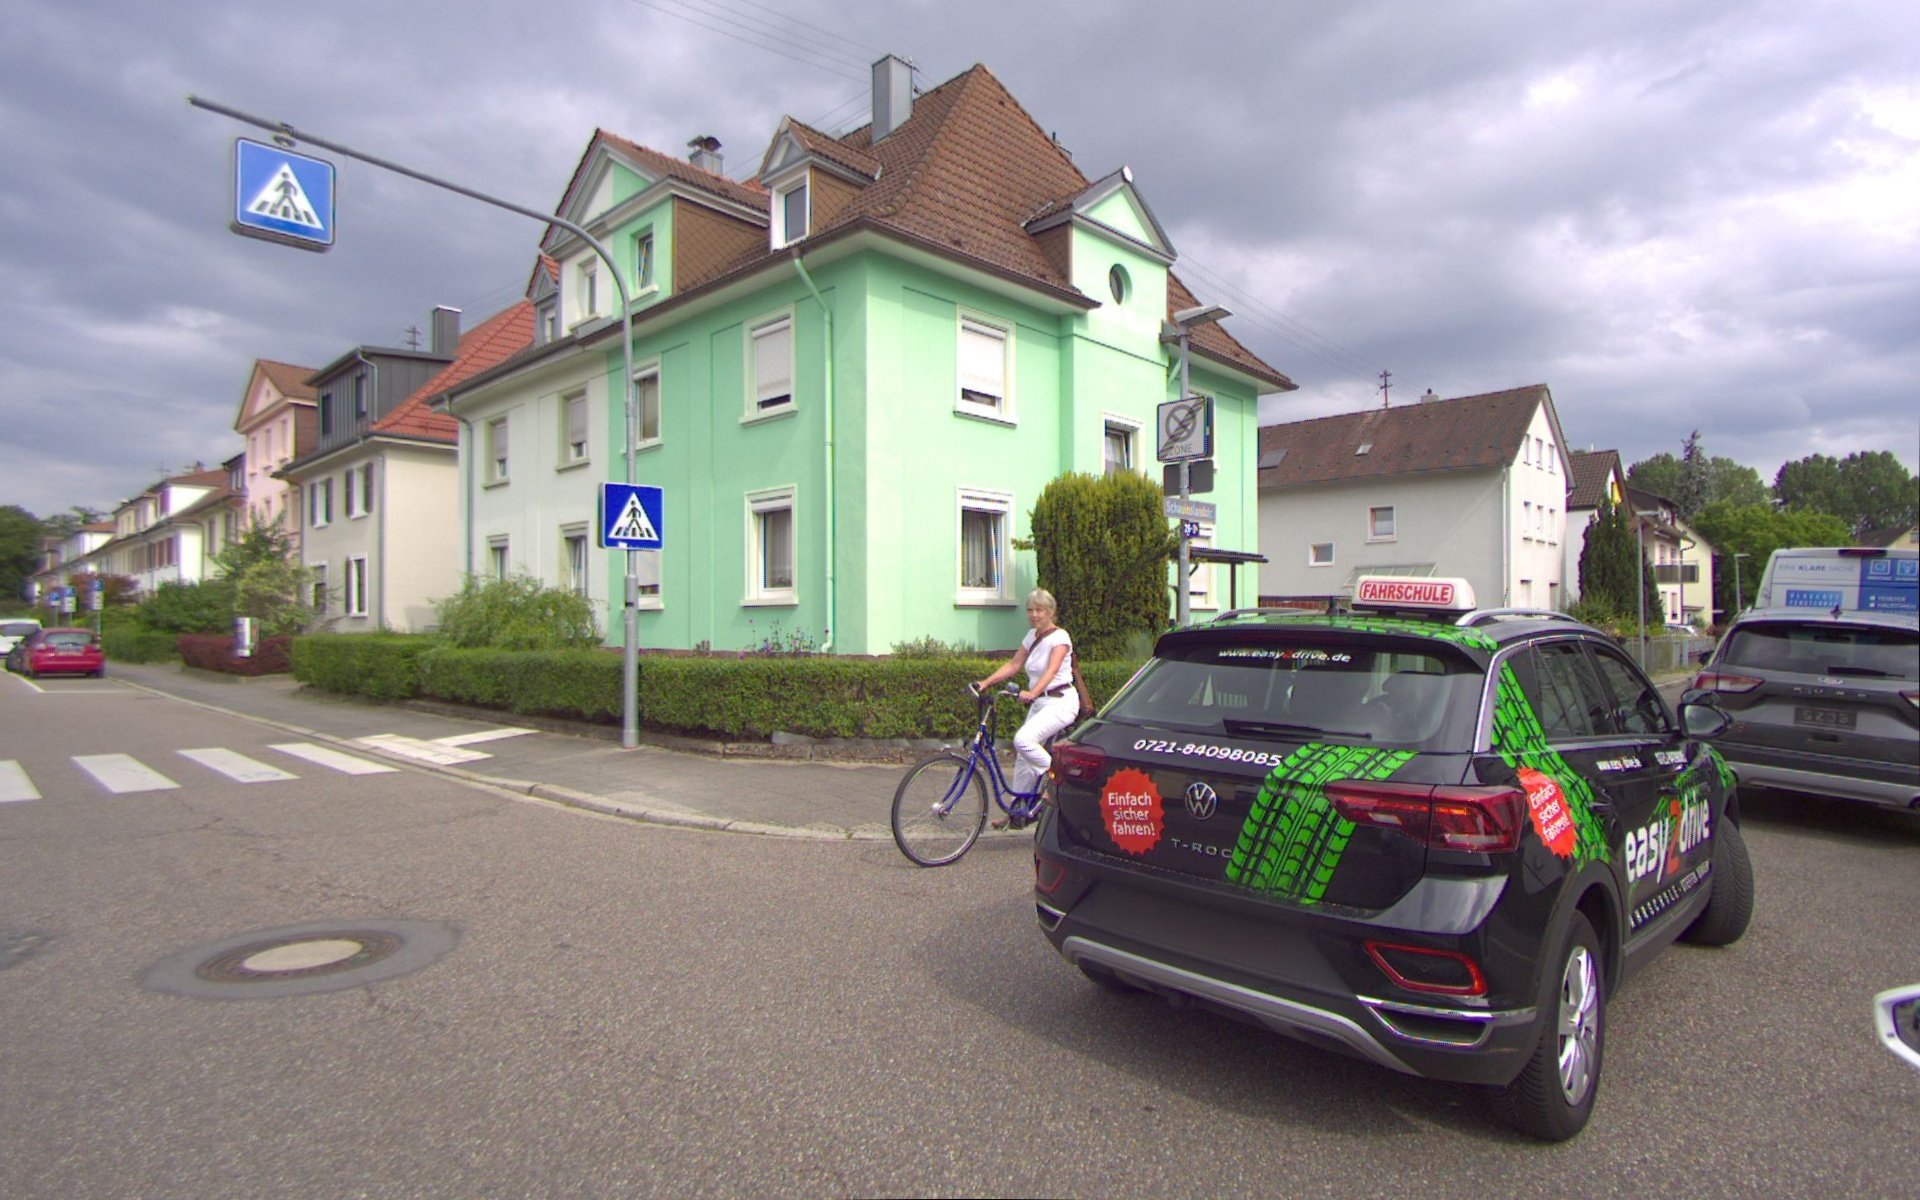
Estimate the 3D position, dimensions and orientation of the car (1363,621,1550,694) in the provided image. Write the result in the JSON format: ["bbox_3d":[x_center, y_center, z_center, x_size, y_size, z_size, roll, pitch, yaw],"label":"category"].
[{"bbox_3d":[11.135,1.241,22.634,3.529,1.520,1.580,-1,-2,40],"label":"car"}]

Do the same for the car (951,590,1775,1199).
[{"bbox_3d":[2.036,0.814,4.302,4.016,1.540,1.798,2,-2,-44],"label":"car"}]

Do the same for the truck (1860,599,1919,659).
[{"bbox_3d":[44.039,1.345,47.526,2.106,2.692,4.560,-1,-1,41],"label":"truck"}]

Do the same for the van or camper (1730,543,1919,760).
[{"bbox_3d":[12.252,0.636,13.811,2.168,2.491,5.025,-1,-1,43],"label":"van or camper"}]

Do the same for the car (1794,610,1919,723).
[{"bbox_3d":[16.314,1.099,18.043,1.971,1.795,4.320,-1,-1,41],"label":"car"}]

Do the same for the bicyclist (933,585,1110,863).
[{"bbox_3d":[0.413,0.758,6.682,0.968,1.688,0.690,0,0,-41],"label":"bicyclist"}]

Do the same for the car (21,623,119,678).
[{"bbox_3d":[-27.857,1.537,31.398,3.945,1.595,1.988,-1,-2,44],"label":"car"}]

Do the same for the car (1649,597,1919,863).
[{"bbox_3d":[7.366,0.895,8.579,1.971,1.749,4.320,-1,-1,41],"label":"car"}]

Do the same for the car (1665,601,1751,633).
[{"bbox_3d":[44.189,1.024,59.389,3.941,1.795,1.861,-1,-3,41],"label":"car"}]

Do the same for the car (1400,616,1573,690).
[{"bbox_3d":[13.006,1.272,24.903,3.529,1.689,1.580,-1,-2,40],"label":"car"}]

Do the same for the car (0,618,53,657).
[{"bbox_3d":[-47.587,1.879,50.992,3.945,1.929,1.988,-1,-2,44],"label":"car"}]

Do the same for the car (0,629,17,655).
[{"bbox_3d":[-58.705,2.537,60.933,3.945,1.595,1.988,-1,-2,44],"label":"car"}]

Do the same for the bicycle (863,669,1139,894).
[{"bbox_3d":[0.317,1.093,6.599,1.859,1.167,0.699,0,0,-42],"label":"bicycle"}]

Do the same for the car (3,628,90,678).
[{"bbox_3d":[-31.709,1.790,34.822,3.945,1.595,1.988,-1,-2,44],"label":"car"}]

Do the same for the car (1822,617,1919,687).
[{"bbox_3d":[25.054,1.353,27.651,1.971,1.772,4.320,-1,-1,41],"label":"car"}]

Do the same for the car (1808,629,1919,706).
[{"bbox_3d":[19.703,1.388,21.761,1.971,1.475,4.320,-1,-2,41],"label":"car"}]
